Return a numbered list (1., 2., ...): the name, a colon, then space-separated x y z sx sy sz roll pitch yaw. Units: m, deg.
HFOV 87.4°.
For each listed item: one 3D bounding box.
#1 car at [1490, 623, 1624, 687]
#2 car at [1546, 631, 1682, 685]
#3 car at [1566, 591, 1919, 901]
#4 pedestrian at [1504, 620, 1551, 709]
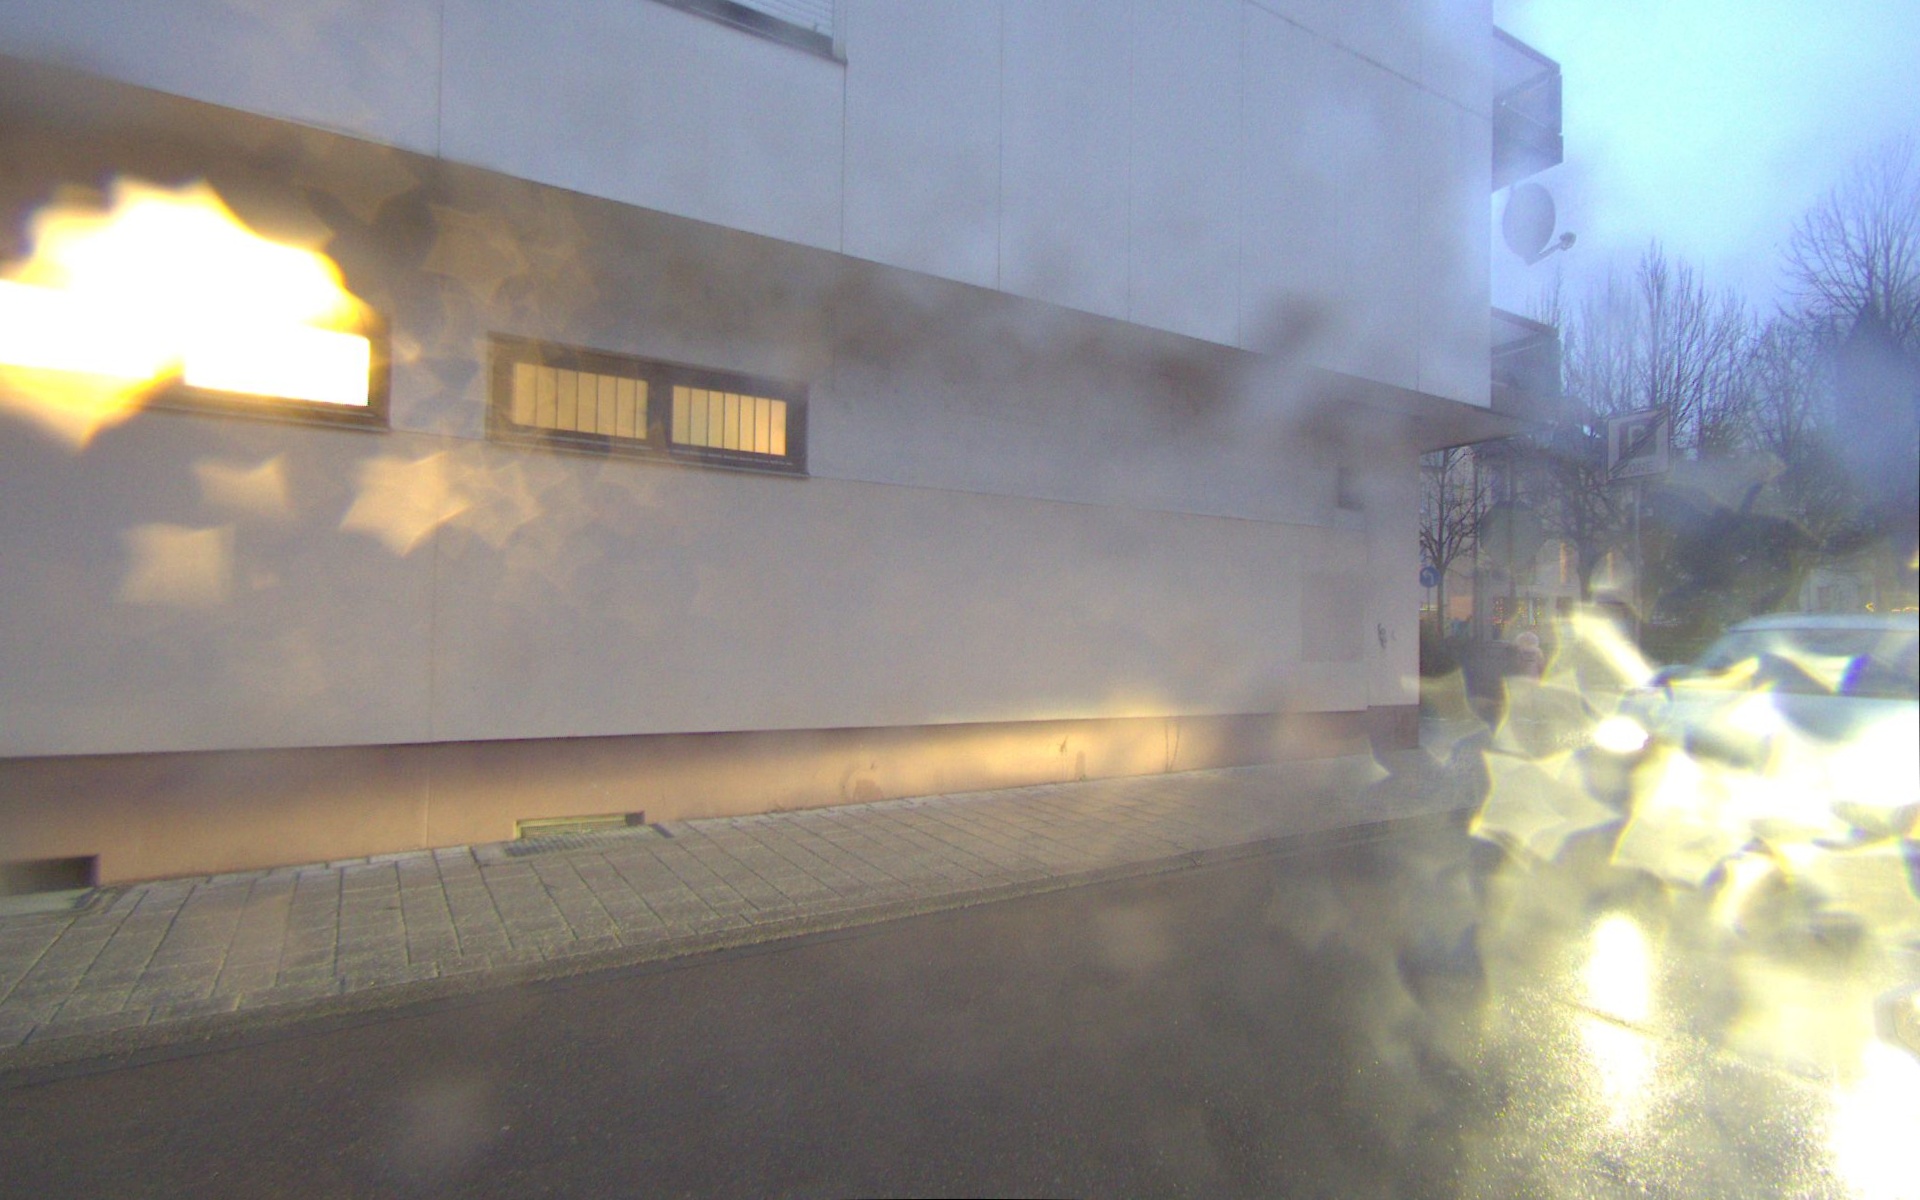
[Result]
1. car: 20.334 1.824 34.405 1.786 2.015 3.993 0 -1 -10
2. car: 22.933 1.982 35.409 1.786 1.753 3.993 0 -1 -10
3. car: 6.391 0.803 7.171 4.350 1.617 1.801 1 -1 -32
4. pedestrian: 9.703 1.088 17.191 0.638 1.478 0.650 0 0 24
